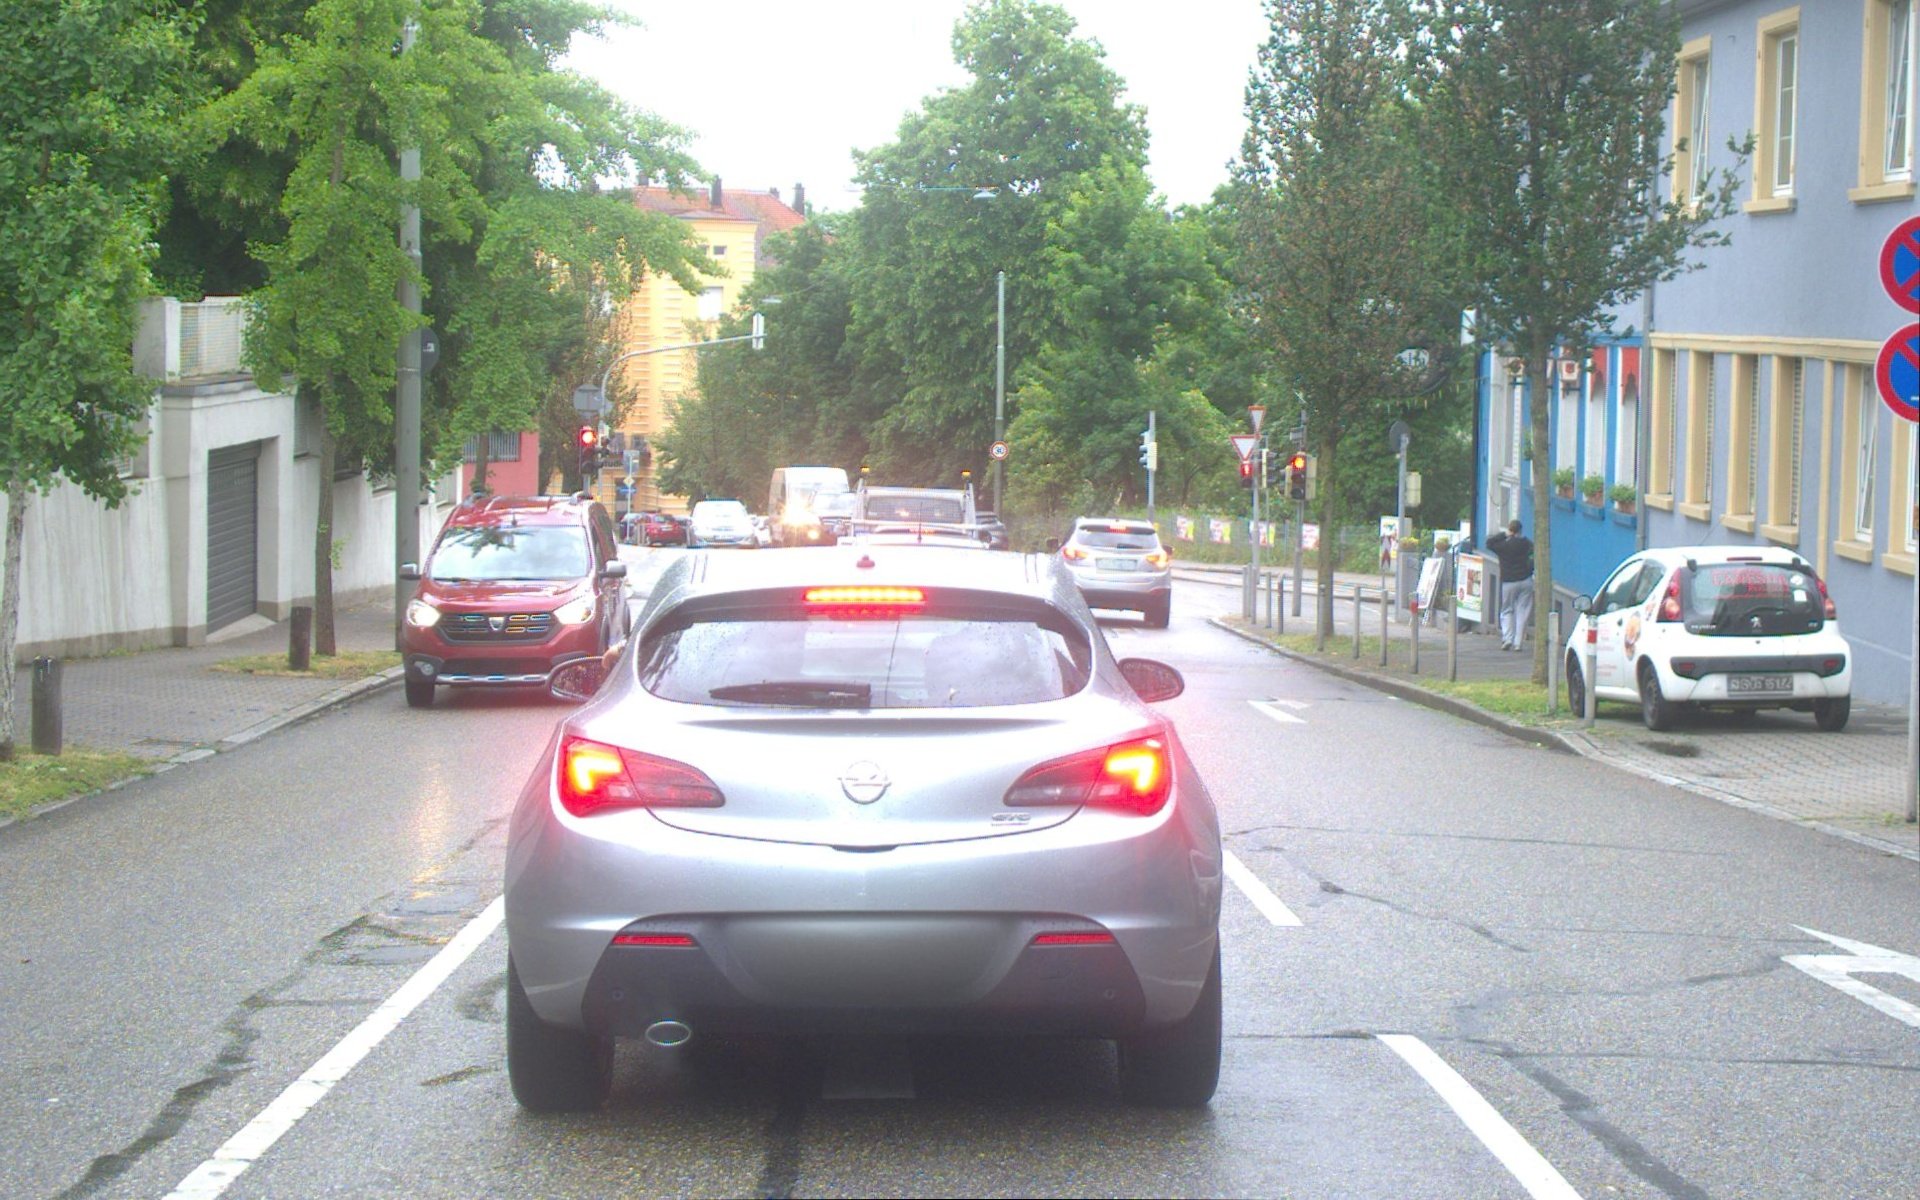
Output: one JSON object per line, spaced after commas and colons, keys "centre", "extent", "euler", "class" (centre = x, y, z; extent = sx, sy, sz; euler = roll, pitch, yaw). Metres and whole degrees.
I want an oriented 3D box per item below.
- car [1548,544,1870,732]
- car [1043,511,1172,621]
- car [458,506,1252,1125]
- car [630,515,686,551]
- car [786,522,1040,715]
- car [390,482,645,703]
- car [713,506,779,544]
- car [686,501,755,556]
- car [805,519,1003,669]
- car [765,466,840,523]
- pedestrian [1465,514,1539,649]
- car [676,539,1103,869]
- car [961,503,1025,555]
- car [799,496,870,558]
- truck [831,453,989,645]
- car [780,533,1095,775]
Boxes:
{"centre": [6.162, 0.266, 28.699], "extent": [1.722, 1.443, 3.880], "euler": [0, 1, -2], "class": "car"}
{"centre": [2.331, -0.569, 55.124], "extent": [1.722, 1.708, 3.880], "euler": [0, 1, -2], "class": "car"}
{"centre": [-0.325, 0.467, 10.001], "extent": [1.837, 1.429, 3.880], "euler": [1, 1, -2], "class": "car"}
{"centre": [-13.897, -3.072, 158.096], "extent": [1.722, 1.632, 3.881], "euler": [0, 1, -18], "class": "car"}
{"centre": [-0.438, 0.103, 29.438], "extent": [1.962, 1.443, 4.306], "euler": [2, 1, -2], "class": "car"}
{"centre": [-3.894, -0.092, 30.921], "extent": [1.746, 1.822, 4.459], "euler": [-1, 1, -1], "class": "car"}
{"centre": [-8.691, -3.034, 139.327], "extent": [1.722, 1.538, 3.881], "euler": [0, 1, -18], "class": "car"}
{"centre": [-6.490, -1.933, 93.353], "extent": [1.722, 1.455, 3.880], "euler": [0, 1, -2], "class": "car"}
{"centre": [-0.635, -0.113, 37.097], "extent": [1.962, 1.443, 4.306], "euler": [2, 1, -2], "class": "car"}
{"centre": [-4.608, -3.063, 100.219], "extent": [1.722, 1.632, 3.881], "euler": [0, 1, -9], "class": "car"}
{"centre": [7.072, -0.243, 44.874], "extent": [0.783, 1.723, 0.651], "euler": [2, 1, 0], "class": "pedestrian"}
{"centre": [-0.395, 0.453, 18.340], "extent": [1.962, 1.443, 4.306], "euler": [2, 1, -2], "class": "car"}
{"centre": [1.025, -2.249, 108.891], "extent": [1.722, 1.632, 3.880], "euler": [0, 1, -4], "class": "car"}
{"centre": [-3.372, -1.975, 92.598], "extent": [1.870, 1.632, 3.880], "euler": [0, 1, -2], "class": "car"}
{"centre": [-0.724, -0.726, 47.089], "extent": [1.962, 2.420, 4.936], "euler": [2, 1, -2], "class": "truck"}
{"centre": [-0.208, 0.302, 24.060], "extent": [1.962, 1.443, 4.306], "euler": [2, 1, -2], "class": "car"}
